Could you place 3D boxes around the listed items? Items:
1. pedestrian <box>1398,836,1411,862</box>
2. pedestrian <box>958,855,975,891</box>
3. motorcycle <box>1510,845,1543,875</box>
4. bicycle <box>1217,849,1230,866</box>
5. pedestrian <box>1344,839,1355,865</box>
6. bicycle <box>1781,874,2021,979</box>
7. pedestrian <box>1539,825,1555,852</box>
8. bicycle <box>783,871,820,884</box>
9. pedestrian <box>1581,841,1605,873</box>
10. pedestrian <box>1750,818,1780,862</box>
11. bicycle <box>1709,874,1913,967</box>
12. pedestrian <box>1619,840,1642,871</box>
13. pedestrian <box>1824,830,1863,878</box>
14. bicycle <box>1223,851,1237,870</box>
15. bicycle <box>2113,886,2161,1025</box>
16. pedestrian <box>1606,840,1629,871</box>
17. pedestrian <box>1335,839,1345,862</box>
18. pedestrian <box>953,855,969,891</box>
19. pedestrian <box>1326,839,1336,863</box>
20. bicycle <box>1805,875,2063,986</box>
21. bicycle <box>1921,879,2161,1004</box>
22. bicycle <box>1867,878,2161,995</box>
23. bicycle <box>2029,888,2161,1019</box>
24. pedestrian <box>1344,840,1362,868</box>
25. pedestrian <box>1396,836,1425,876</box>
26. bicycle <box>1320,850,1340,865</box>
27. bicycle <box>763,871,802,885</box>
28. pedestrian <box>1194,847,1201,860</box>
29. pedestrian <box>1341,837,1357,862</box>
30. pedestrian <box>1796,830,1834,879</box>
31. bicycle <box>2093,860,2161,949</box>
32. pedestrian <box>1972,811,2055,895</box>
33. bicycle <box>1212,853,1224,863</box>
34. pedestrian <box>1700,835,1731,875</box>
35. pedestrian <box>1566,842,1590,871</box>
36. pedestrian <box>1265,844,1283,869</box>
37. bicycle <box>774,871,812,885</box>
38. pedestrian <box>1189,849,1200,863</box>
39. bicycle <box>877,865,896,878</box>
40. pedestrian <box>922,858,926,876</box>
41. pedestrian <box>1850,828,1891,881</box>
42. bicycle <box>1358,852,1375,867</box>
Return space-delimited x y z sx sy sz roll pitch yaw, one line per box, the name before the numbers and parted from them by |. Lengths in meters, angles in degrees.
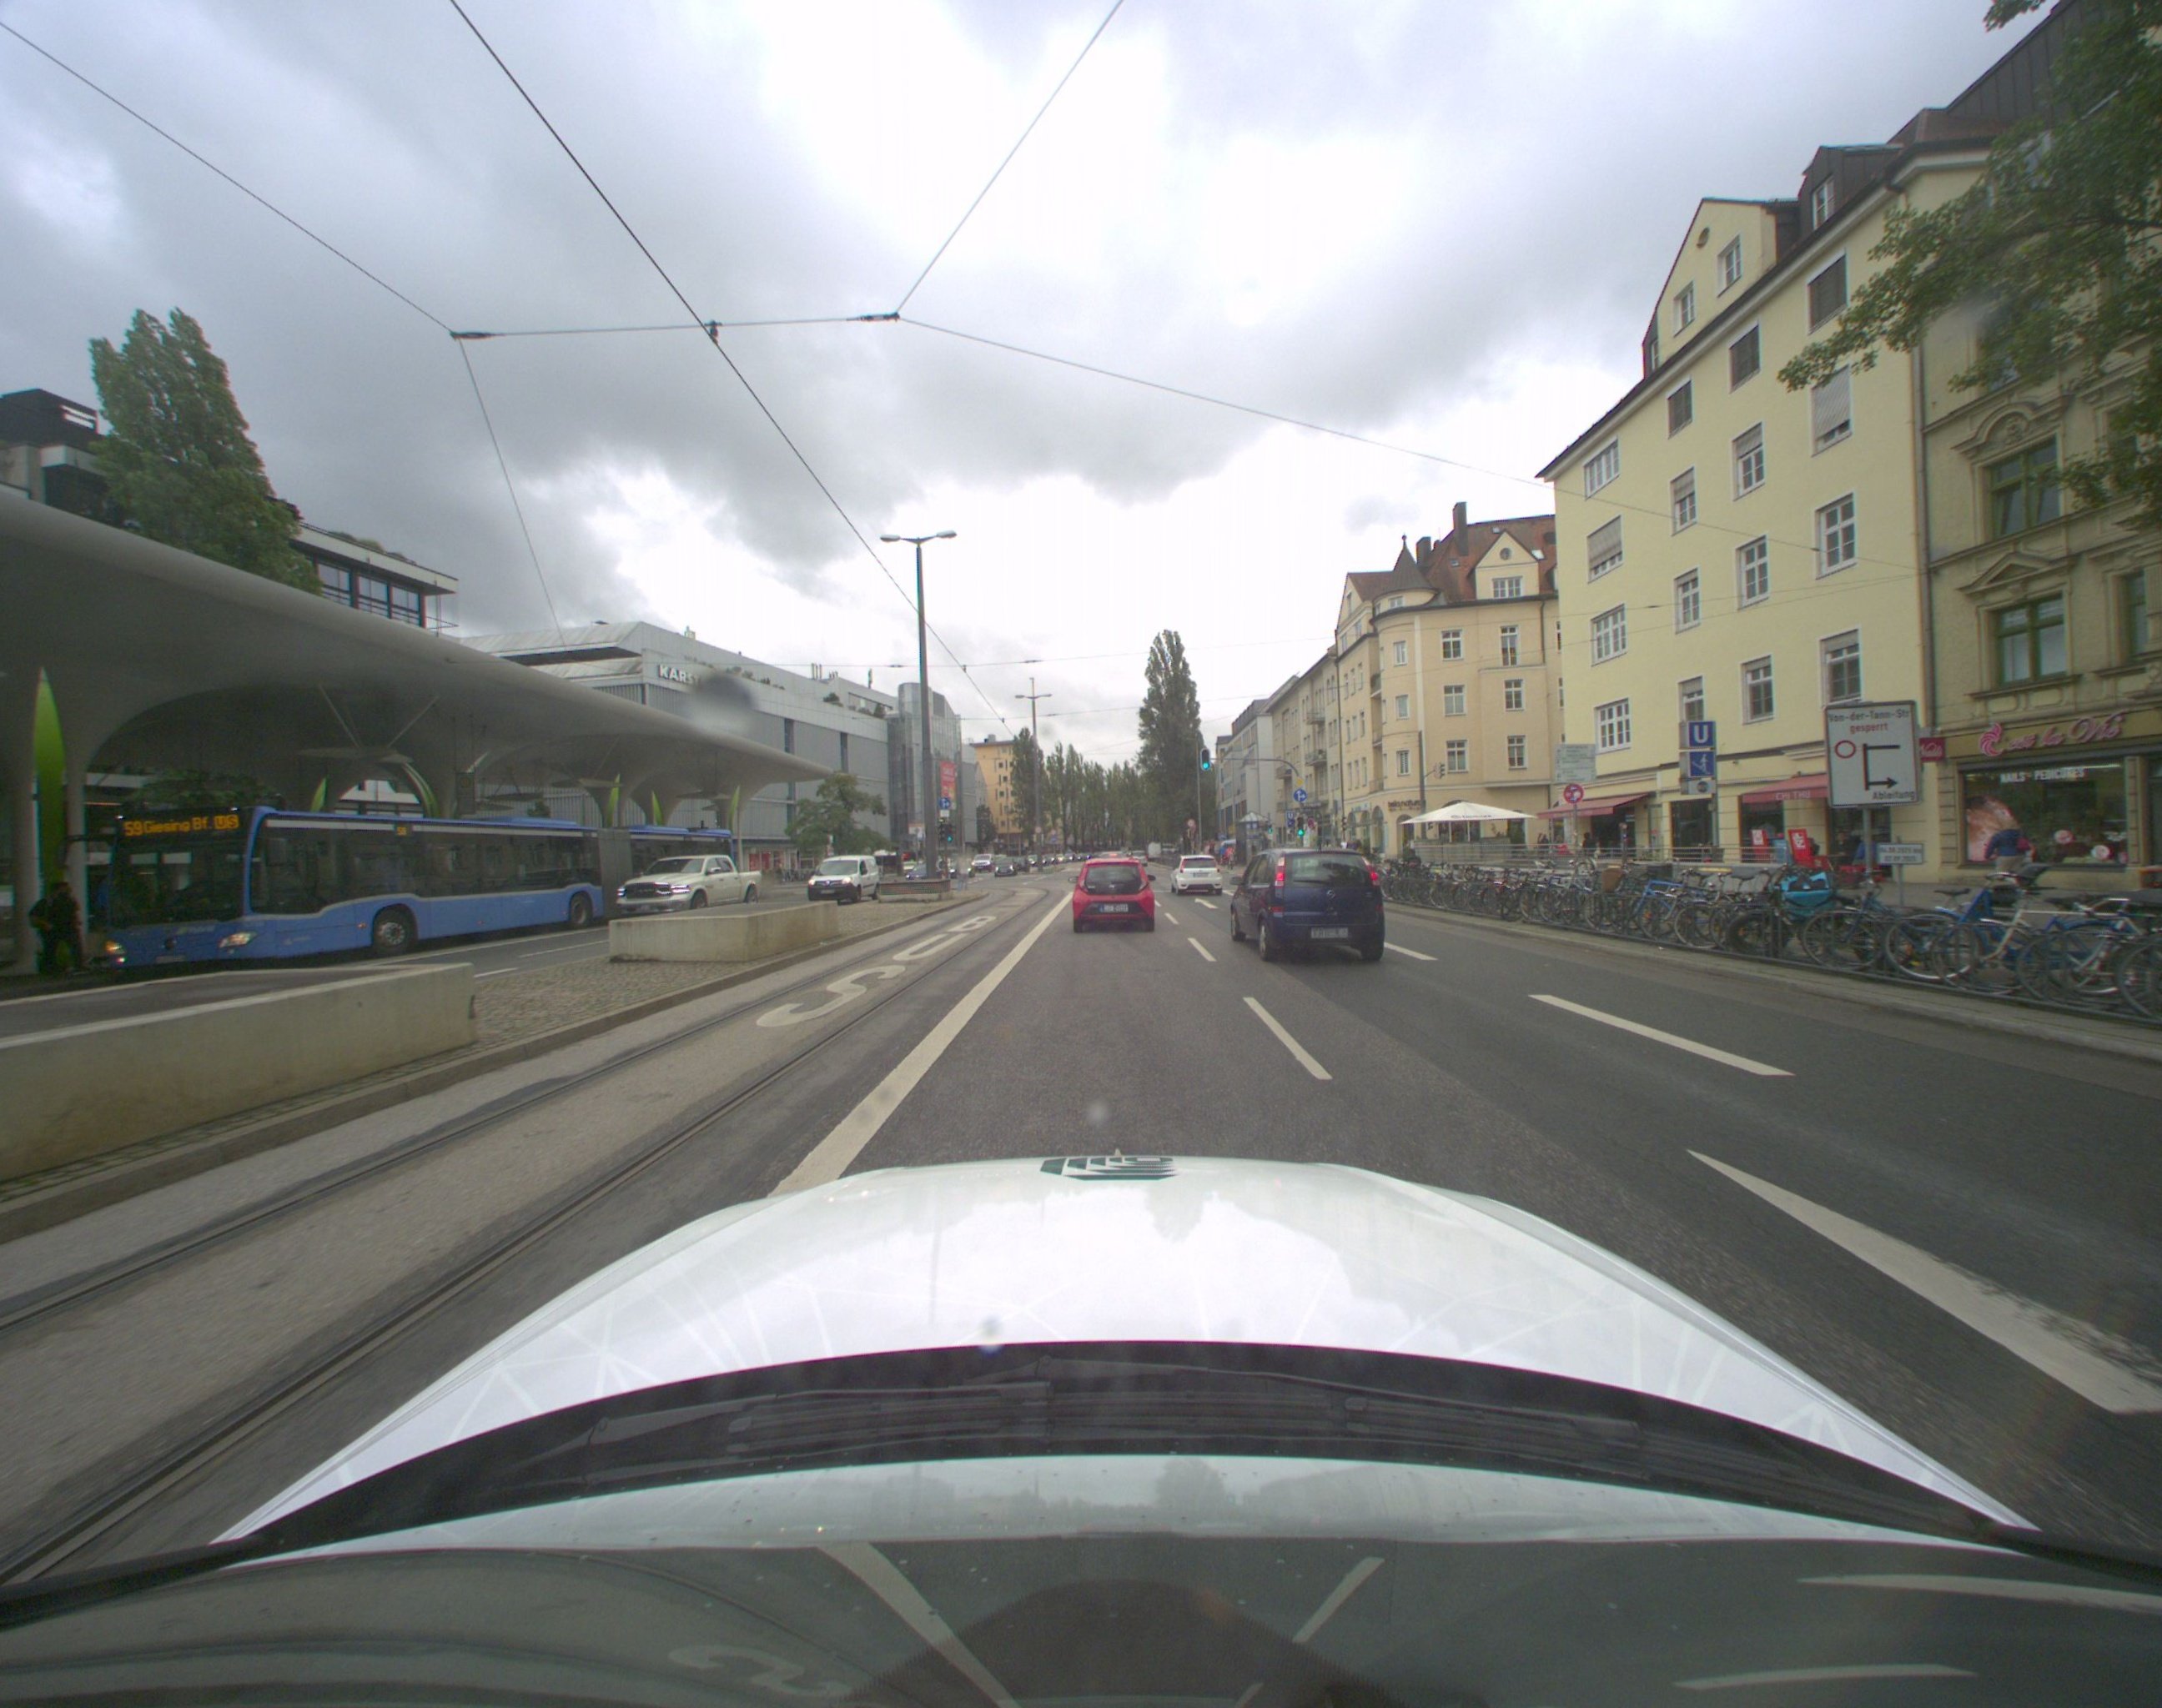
pedestrian | 21.816 -0.321 54.842 0.674 1.684 0.751 -1 3 29
pedestrian | -5.125 0.856 36.516 0.466 1.618 0.515 -2 0 -44
motorcycle | 18.202 0.237 33.309 0.484 1.156 1.572 -2 0 3
bicycle | 11.304 0.267 64.620 0.611 1.265 2.521 -2 0 3
pedestrian | 18.741 -0.162 56.847 0.642 1.751 0.640 -2 3 24
bicycle | 8.855 0.740 8.875 0.327 0.995 1.820 -2 2 -41
pedestrian | 30.384 -0.996 53.051 0.676 1.705 0.749 -2 3 11
bicycle | -27.642 2.305 80.548 3.468 1.156 1.064 -2 0 14
pedestrian | 20.964 0.110 33.364 0.512 1.292 0.703 -2 0 0
pedestrian | 21.947 -0.450 26.133 0.506 1.397 0.490 -2 0 7
bicycle | 8.813 0.770 9.906 1.819 0.995 0.327 0 2 44
pedestrian | 21.056 0.067 31.213 0.476 1.166 0.527 -2 0 0
pedestrian | 20.891 0.008 22.320 0.493 1.289 0.552 -2 0 2
bicycle | 10.774 0.449 58.909 0.611 1.265 2.521 -2 0 3
bicycle | 8.650 0.754 5.641 1.818 0.995 0.378 0 2 39
pedestrian | 20.525 0.068 31.156 0.476 1.166 0.527 -2 0 0
pedestrian | 18.470 -0.241 58.045 0.556 1.609 0.570 -2 3 15
pedestrian | -5.429 0.858 36.778 0.489 1.618 0.552 -2 0 -33
pedestrian | 17.779 -0.237 57.949 0.560 1.670 0.566 -2 3 24
bicycle | 8.722 0.742 8.429 1.819 0.995 0.327 0 2 44
bicycle | 8.720 0.745 7.169 1.818 0.995 0.327 0 2 39
bicycle | 8.795 0.744 7.775 1.818 0.995 0.327 -1 1 34
bicycle | 8.810 0.778 6.369 1.819 0.995 0.377 -1 1 26
pedestrian | 18.067 0.001 54.105 0.928 1.755 1.068 -2 0 11
pedestrian | 14.115 0.085 34.871 0.761 1.695 0.762 -2 0 -23
bicycle | 18.606 0.271 60.851 0.495 1.059 1.858 -2 0 -13
bicycle | -28.423 2.315 77.500 3.468 1.156 1.064 -2 0 14
pedestrian | 15.661 -0.023 109.324 0.787 1.727 0.764 -2 0 2
pedestrian | 19.014 -0.330 57.789 0.648 1.705 0.727 -5 3 -27
pedestrian | 20.042 0.009 22.252 0.493 1.289 0.552 -2 0 2
bicycle | 13.586 0.603 10.109 1.719 1.045 0.387 -2 1 -5
pedestrian | 18.792 -0.020 16.427 0.707 1.632 0.787 -2 0 2
bicycle | 13.828 0.370 82.209 1.177 0.963 0.369 -3 0 0
pedestrian | 20.936 0.039 26.883 0.539 1.289 0.552 -2 0 2
pedestrian | 20.882 0.106 34.220 0.512 1.182 0.703 -2 0 0
pedestrian | 13.494 0.178 56.963 0.826 1.691 0.825 -2 0 39
bicycle | -28.005 2.310 79.123 3.468 1.156 1.064 -2 0 14
pedestrian | 12.875 0.189 92.387 0.790 1.522 0.816 -3 0 45
bicycle | -17.580 1.620 73.499 1.566 1.112 0.374 -2 0 5
pedestrian | -16.326 1.355 84.688 0.354 1.759 0.445 -2 0 -9
pedestrian | 20.631 0.010 21.299 0.493 1.332 0.552 -2 0 2
bicycle | 21.480 0.396 61.254 0.493 1.089 1.864 -2 0 -3
